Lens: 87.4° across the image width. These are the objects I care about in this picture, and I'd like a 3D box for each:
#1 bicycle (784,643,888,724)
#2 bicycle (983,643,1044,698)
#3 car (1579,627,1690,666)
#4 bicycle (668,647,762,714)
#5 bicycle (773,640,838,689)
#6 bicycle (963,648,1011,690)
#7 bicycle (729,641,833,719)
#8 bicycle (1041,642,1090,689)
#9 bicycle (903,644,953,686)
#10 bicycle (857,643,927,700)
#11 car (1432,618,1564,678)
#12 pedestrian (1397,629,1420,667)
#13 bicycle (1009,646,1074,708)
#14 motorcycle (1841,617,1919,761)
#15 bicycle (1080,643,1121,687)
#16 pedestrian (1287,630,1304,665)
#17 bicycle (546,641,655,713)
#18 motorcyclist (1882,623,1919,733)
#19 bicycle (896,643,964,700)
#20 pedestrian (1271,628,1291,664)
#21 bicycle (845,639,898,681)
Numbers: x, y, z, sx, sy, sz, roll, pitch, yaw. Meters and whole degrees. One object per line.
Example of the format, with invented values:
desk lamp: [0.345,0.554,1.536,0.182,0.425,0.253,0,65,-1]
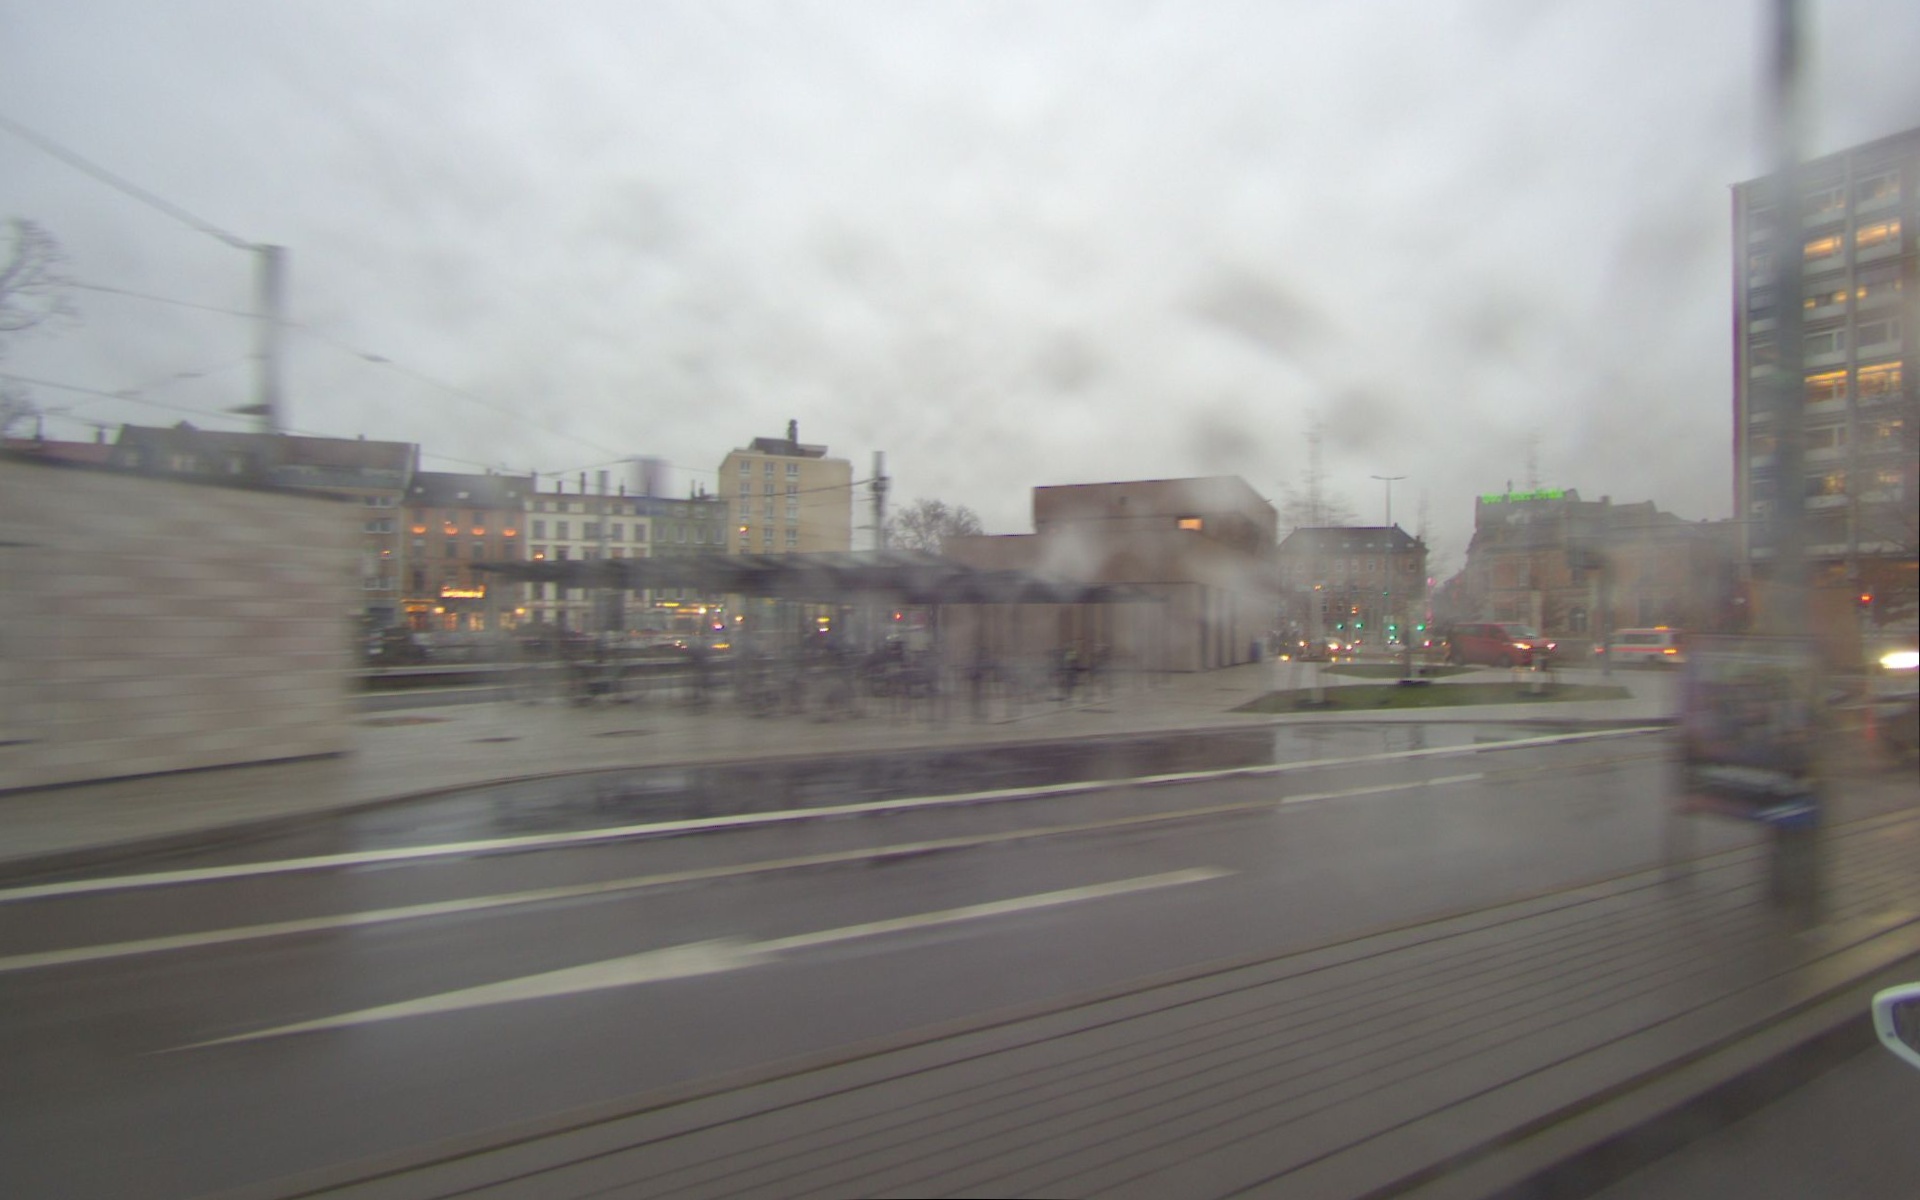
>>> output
bicycle: [-1.927,1.291,15.948,0.540,1.180,1.939,2,-1,30]
bicycle: [1.223,1.570,22.754,0.540,1.180,1.895,2,-1,30]
car: [37.719,2.566,56.366,1.966,1.938,5.156,1,-1,-14]
bicycle: [-4.620,1.492,19.092,0.540,1.180,1.895,2,-1,30]
bicycle: [-3.937,1.625,25.716,0.540,1.180,1.895,2,-1,30]
bicycle: [0.813,2.038,29.872,0.540,1.180,1.895,2,-1,30]
bicycle: [-2.915,1.281,16.559,0.540,1.180,1.895,2,-1,30]
bicycle: [2.837,1.735,26.770,0.540,1.180,1.895,2,-1,30]
bicycle: [-0.927,1.912,29.885,0.540,1.180,1.895,2,-1,30]
bicycle: [-1.474,1.553,22.152,0.540,1.180,1.895,2,-1,30]
car: [23.249,2.032,43.642,2.220,2.311,5.024,3,-1,-13]
pedestrian: [20.736,2.208,46.422,0.781,1.719,0.461,3,-1,-7]
bicycle: [1.709,1.565,20.831,0.540,1.180,1.895,2,-1,30]
motorcycle: [10.942,0.964,11.385,2.289,1.517,0.824,1,-2,-32]
bicycle: [3.979,1.807,28.314,0.540,1.180,1.897,2,-1,26]
pedestrian: [17.986,2.546,53.883,0.576,1.795,0.610,3,-1,-17]
bicycle: [-6.370,1.340,17.894,0.540,1.180,1.895,2,-1,30]
motorcyclist: [10.896,0.882,11.349,0.604,1.209,0.533,3,-1,-31]
bicycle: [-0.636,1.535,21.931,0.540,1.180,1.895,2,-1,30]
pedestrian: [17.152,2.462,53.622,0.670,1.839,0.692,3,-1,-17]
bicycle: [-2.609,1.780,29.863,0.540,1.180,1.895,2,-1,30]
